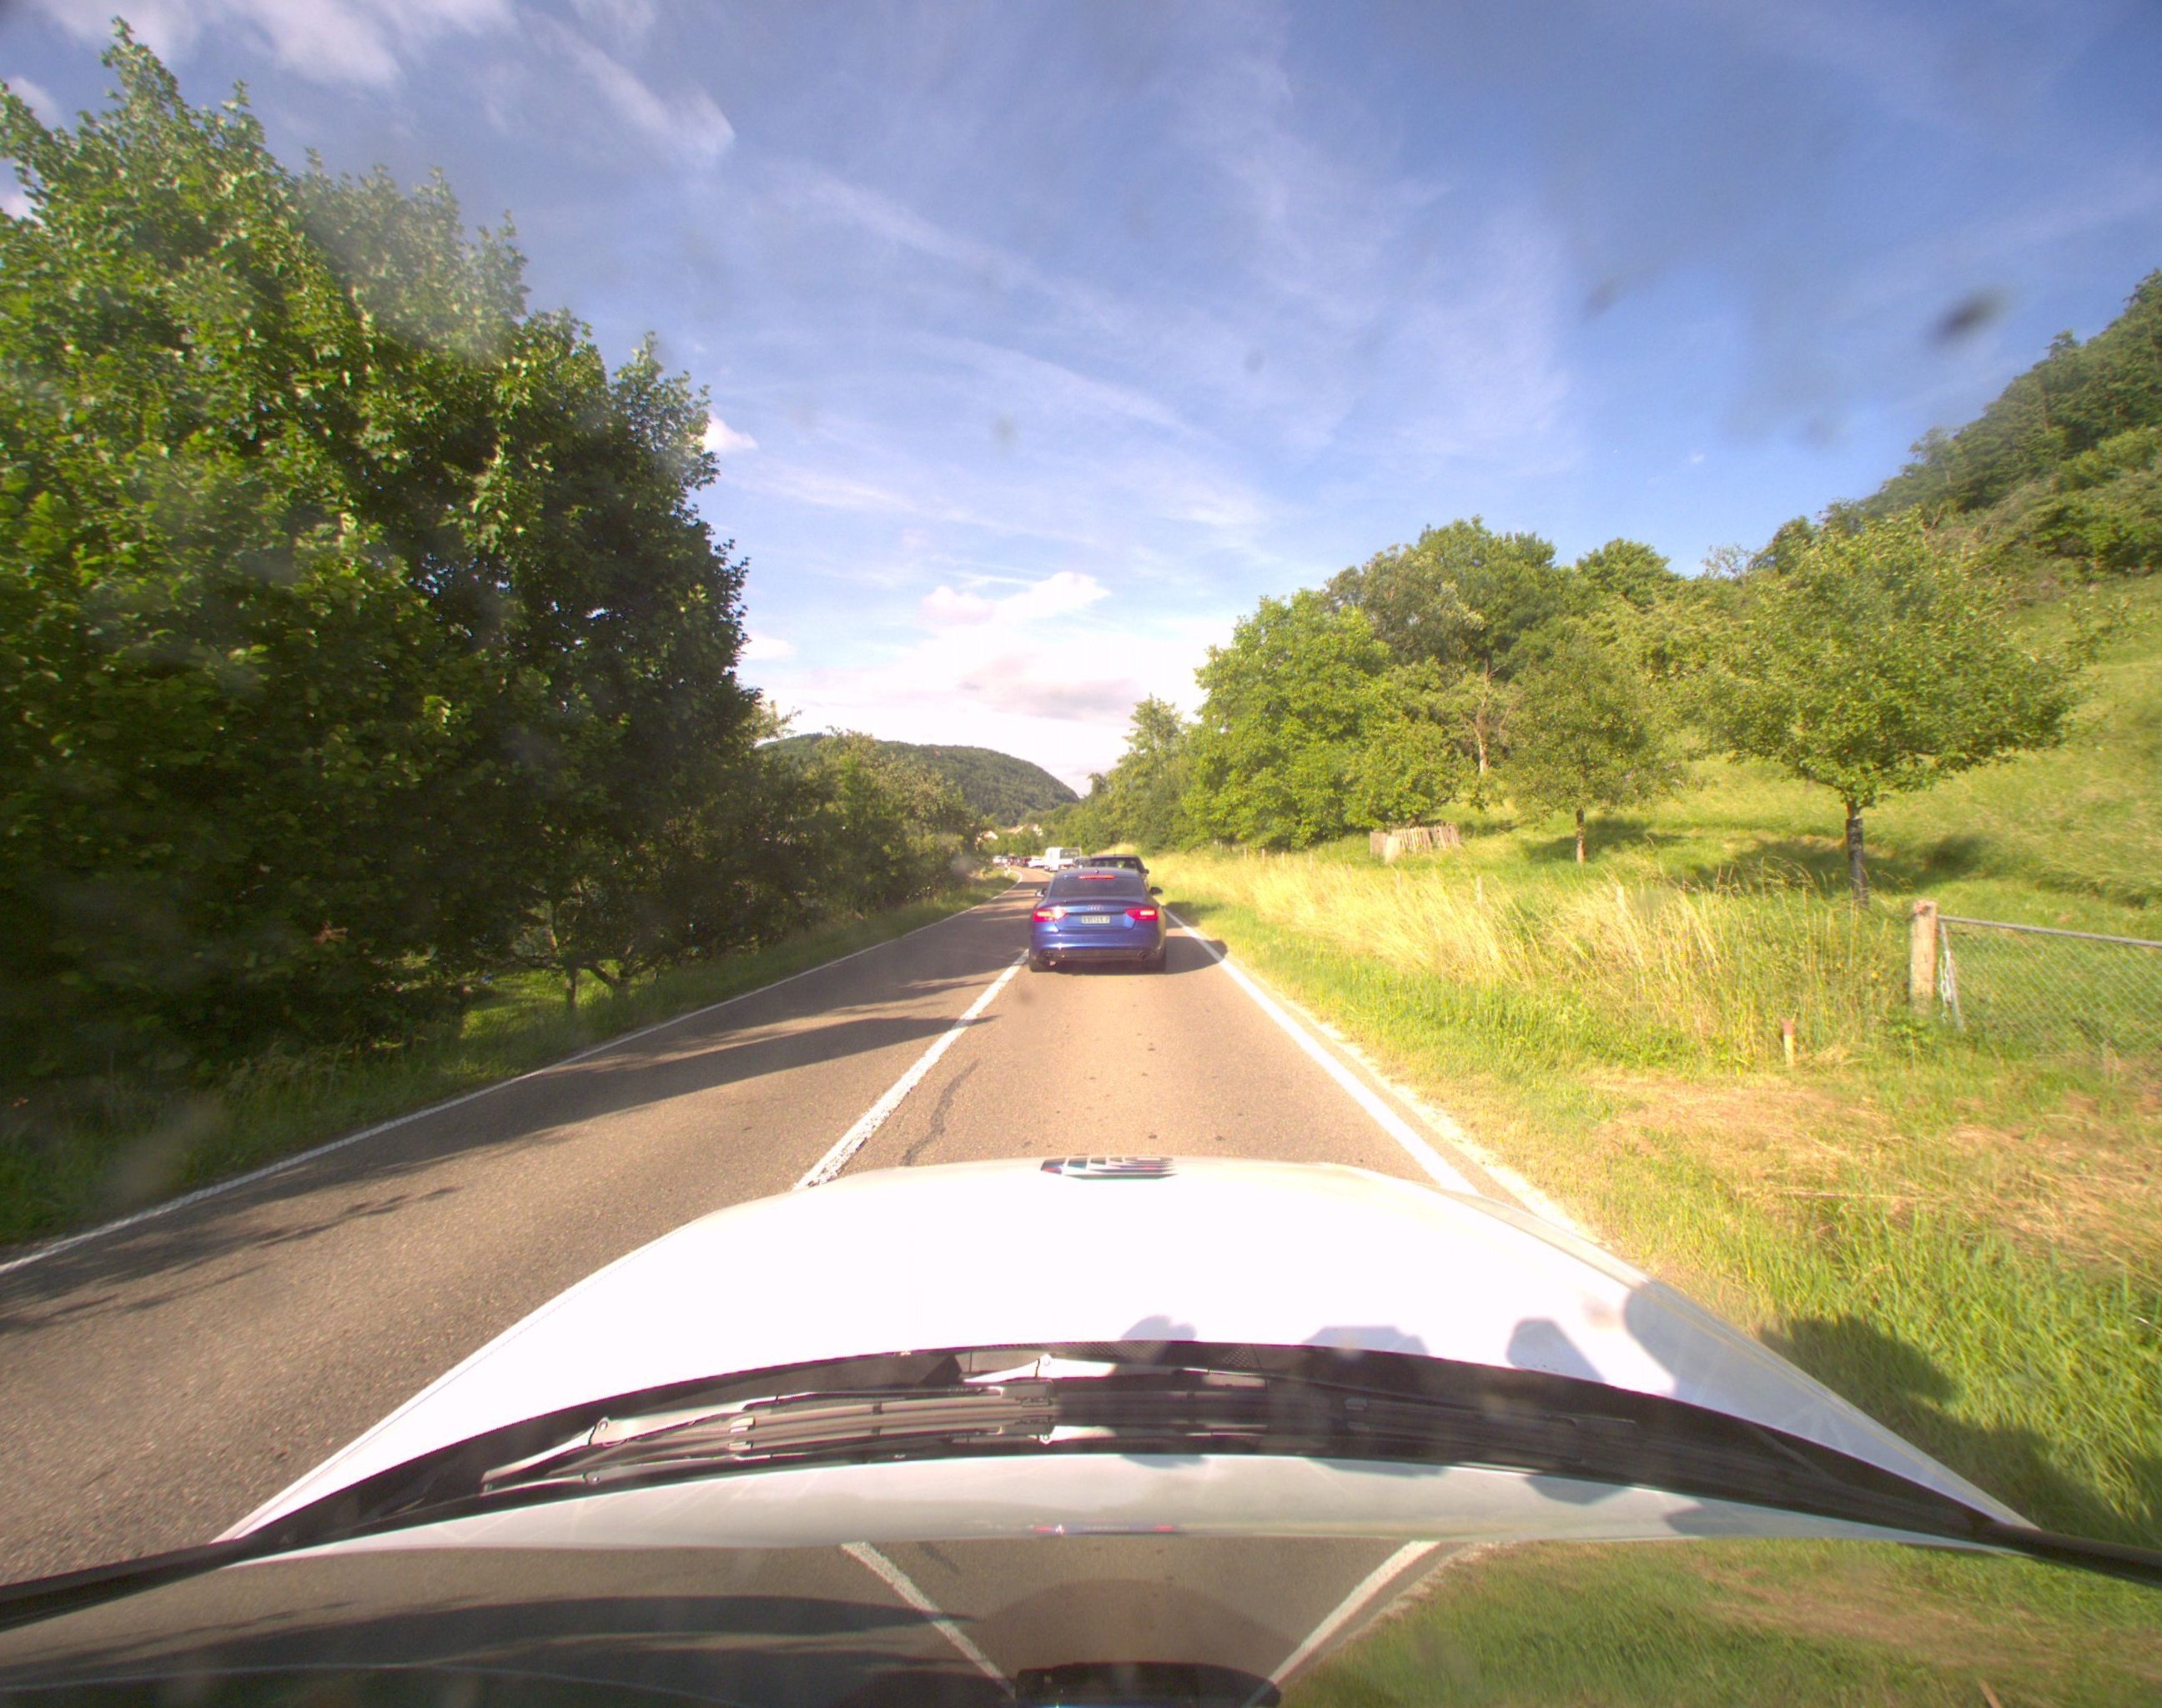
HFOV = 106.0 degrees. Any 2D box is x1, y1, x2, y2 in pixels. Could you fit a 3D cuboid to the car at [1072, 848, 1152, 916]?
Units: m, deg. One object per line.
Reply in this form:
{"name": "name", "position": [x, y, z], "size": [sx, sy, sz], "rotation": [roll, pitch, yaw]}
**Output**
{"name": "car", "position": [0.851, 0.731, 22.422], "size": [1.986, 1.702, 4.002], "rotation": [-1, -1, 2]}

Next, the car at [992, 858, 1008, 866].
{"name": "car", "position": [-14.643, 1.422, 147.734], "size": [2.000, 1.482, 3.973], "rotation": [0, -1, -20]}

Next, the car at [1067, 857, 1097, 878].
{"name": "car", "position": [0.022, 1.034, 62.703], "size": [1.990, 1.482, 3.993], "rotation": [0, -1, -5]}

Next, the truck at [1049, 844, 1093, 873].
{"name": "truck", "position": [-1.089, 0.436, 78.310], "size": [2.863, 2.665, 10.362], "rotation": [0, 0, -8]}

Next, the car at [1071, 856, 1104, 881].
{"name": "car", "position": [0.449, 0.916, 51.296], "size": [1.986, 1.482, 4.002], "rotation": [-1, -1, 2]}

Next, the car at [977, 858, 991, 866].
{"name": "car", "position": [-20.107, 1.660, 168.907], "size": [2.000, 1.482, 3.973], "rotation": [0, -1, -20]}

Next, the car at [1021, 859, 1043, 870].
{"name": "car", "position": [-6.650, 1.409, 110.626], "size": [1.999, 1.482, 3.975], "rotation": [0, -1, -18]}

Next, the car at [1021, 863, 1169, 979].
{"name": "car", "position": [0.279, 0.834, 11.876], "size": [1.786, 1.360, 4.003], "rotation": [-1, 0, 3]}

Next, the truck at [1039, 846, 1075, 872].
{"name": "truck", "position": [-2.861, 0.566, 92.114], "size": [2.863, 2.665, 10.613], "rotation": [0, 0, -8]}

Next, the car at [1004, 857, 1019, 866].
{"name": "car", "position": [-11.938, 1.276, 139.118], "size": [1.996, 1.482, 3.980], "rotation": [0, -1, -14]}

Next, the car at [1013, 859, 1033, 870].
{"name": "car", "position": [-8.403, 1.507, 118.024], "size": [1.999, 1.482, 3.975], "rotation": [0, -1, -18]}

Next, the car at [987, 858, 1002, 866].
{"name": "car", "position": [-16.542, 1.502, 156.153], "size": [2.000, 1.482, 3.973], "rotation": [0, -1, -20]}
